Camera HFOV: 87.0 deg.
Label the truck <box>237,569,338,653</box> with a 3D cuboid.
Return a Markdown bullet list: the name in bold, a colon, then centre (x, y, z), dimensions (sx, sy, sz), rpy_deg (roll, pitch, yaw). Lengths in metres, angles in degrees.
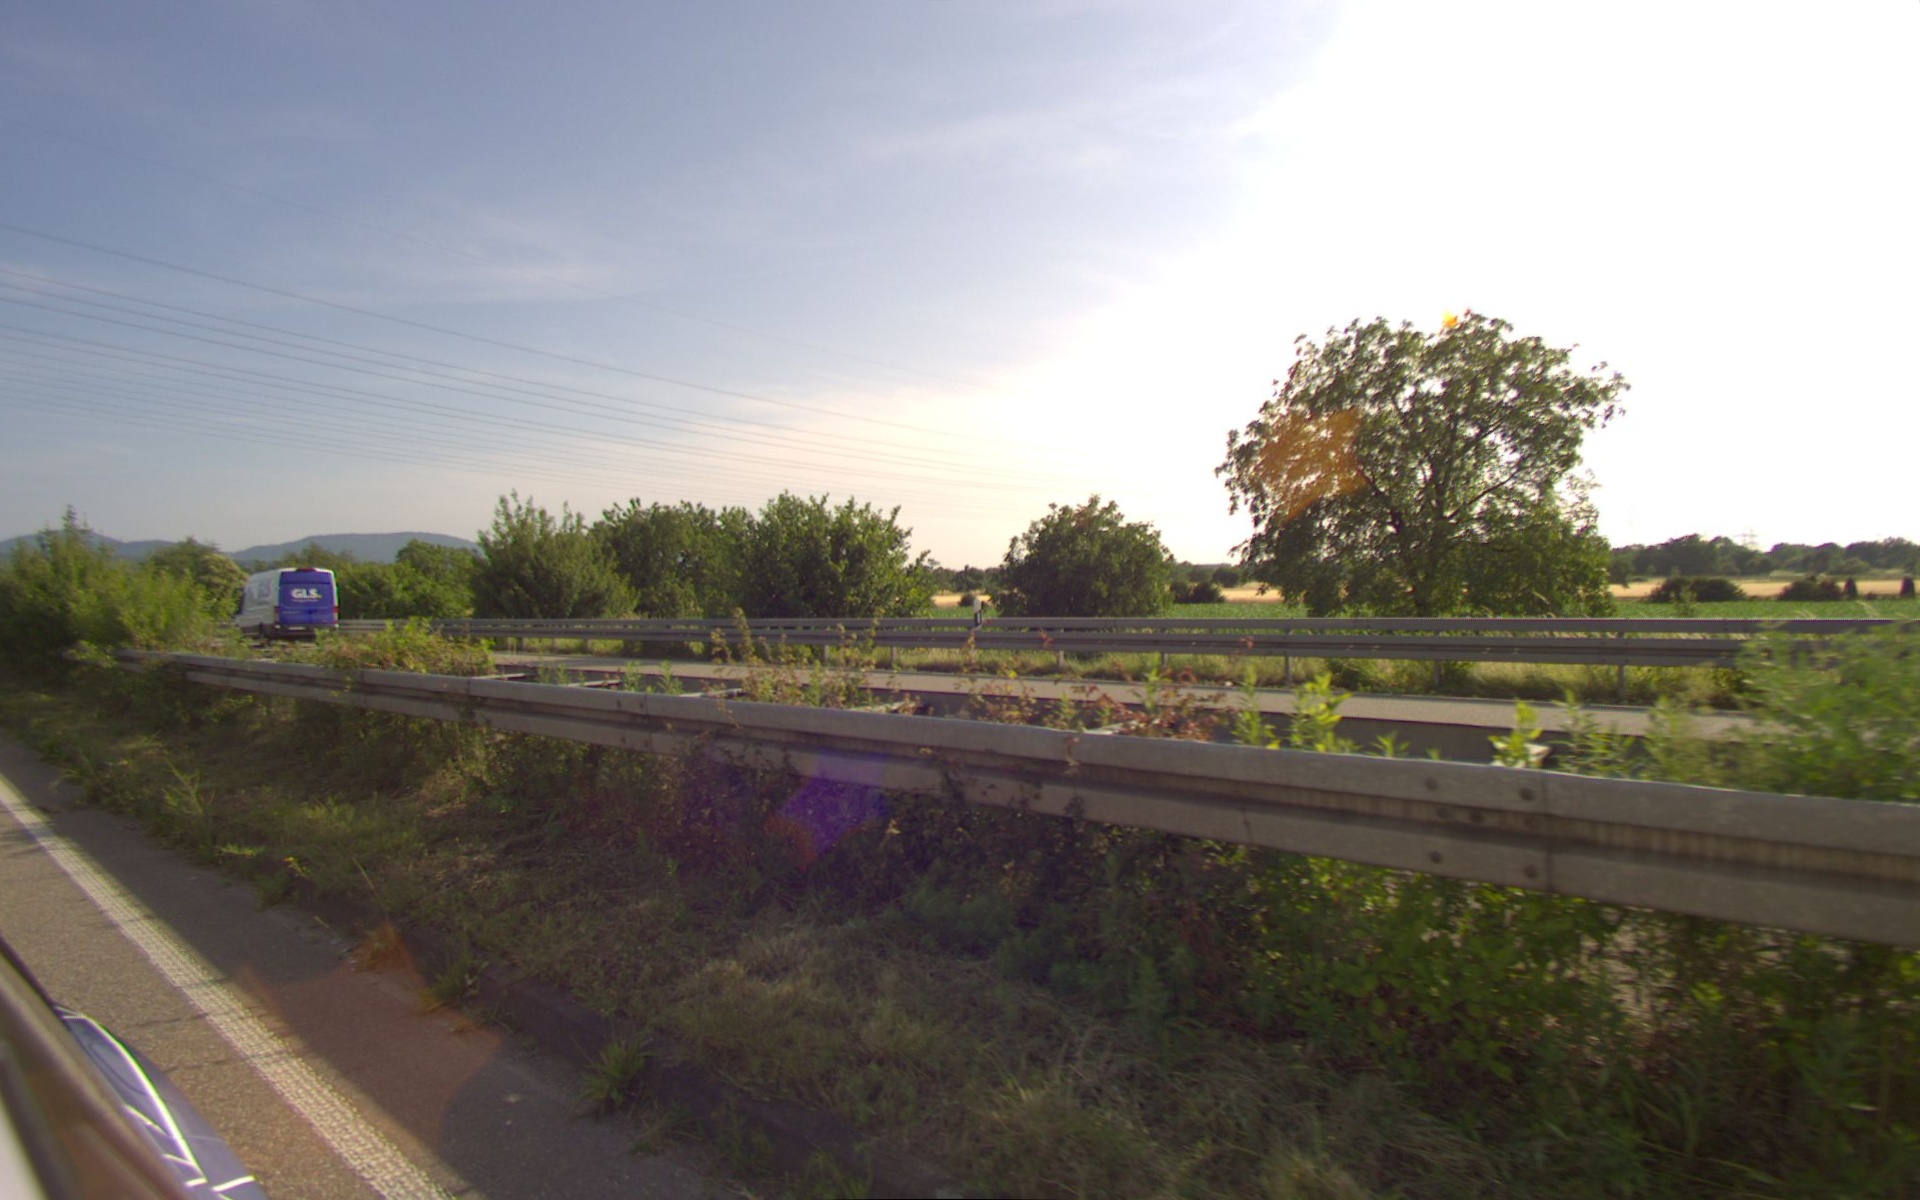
- **truck**: centre (-24.685, 0.407, 37.064), dimensions (5.045, 2.877, 1.995), rpy_deg (-2, -1, 43)
